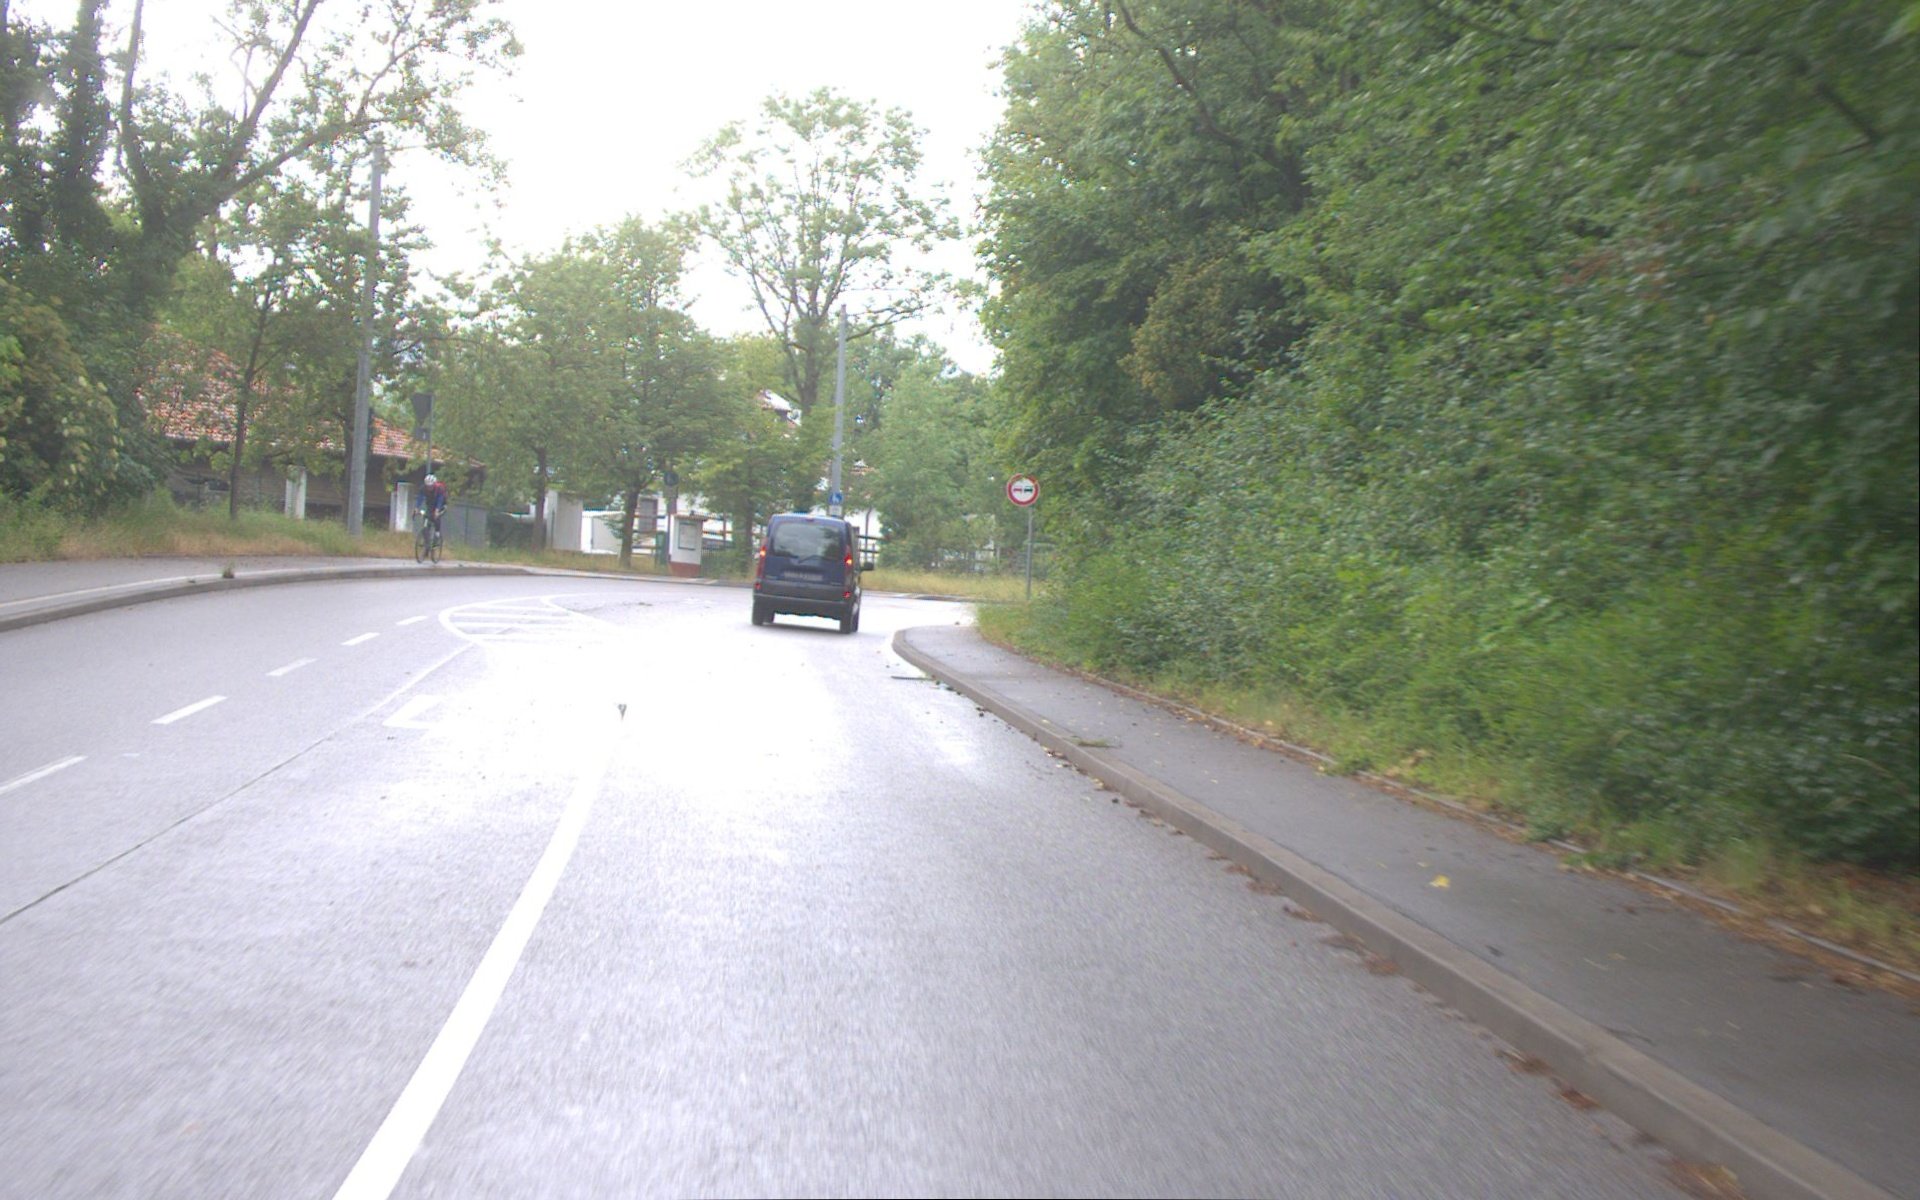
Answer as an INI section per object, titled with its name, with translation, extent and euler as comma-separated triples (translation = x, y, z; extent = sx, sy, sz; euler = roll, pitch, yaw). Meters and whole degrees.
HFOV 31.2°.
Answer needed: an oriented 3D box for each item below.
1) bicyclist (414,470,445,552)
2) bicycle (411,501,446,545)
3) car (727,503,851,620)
[bicyclist]
translation = -10.436, -1.742, 67.646
extent = 0.336, 1.569, 1.298
euler = 3, 0, 0
[bicycle]
translation = -10.462, -1.519, 67.674
extent = 0.355, 0.846, 2.093
euler = 3, 2, -1
[car]
translation = -2.822, -0.601, 56.155
extent = 1.827, 1.788, 4.000
euler = 0, -1, -6
